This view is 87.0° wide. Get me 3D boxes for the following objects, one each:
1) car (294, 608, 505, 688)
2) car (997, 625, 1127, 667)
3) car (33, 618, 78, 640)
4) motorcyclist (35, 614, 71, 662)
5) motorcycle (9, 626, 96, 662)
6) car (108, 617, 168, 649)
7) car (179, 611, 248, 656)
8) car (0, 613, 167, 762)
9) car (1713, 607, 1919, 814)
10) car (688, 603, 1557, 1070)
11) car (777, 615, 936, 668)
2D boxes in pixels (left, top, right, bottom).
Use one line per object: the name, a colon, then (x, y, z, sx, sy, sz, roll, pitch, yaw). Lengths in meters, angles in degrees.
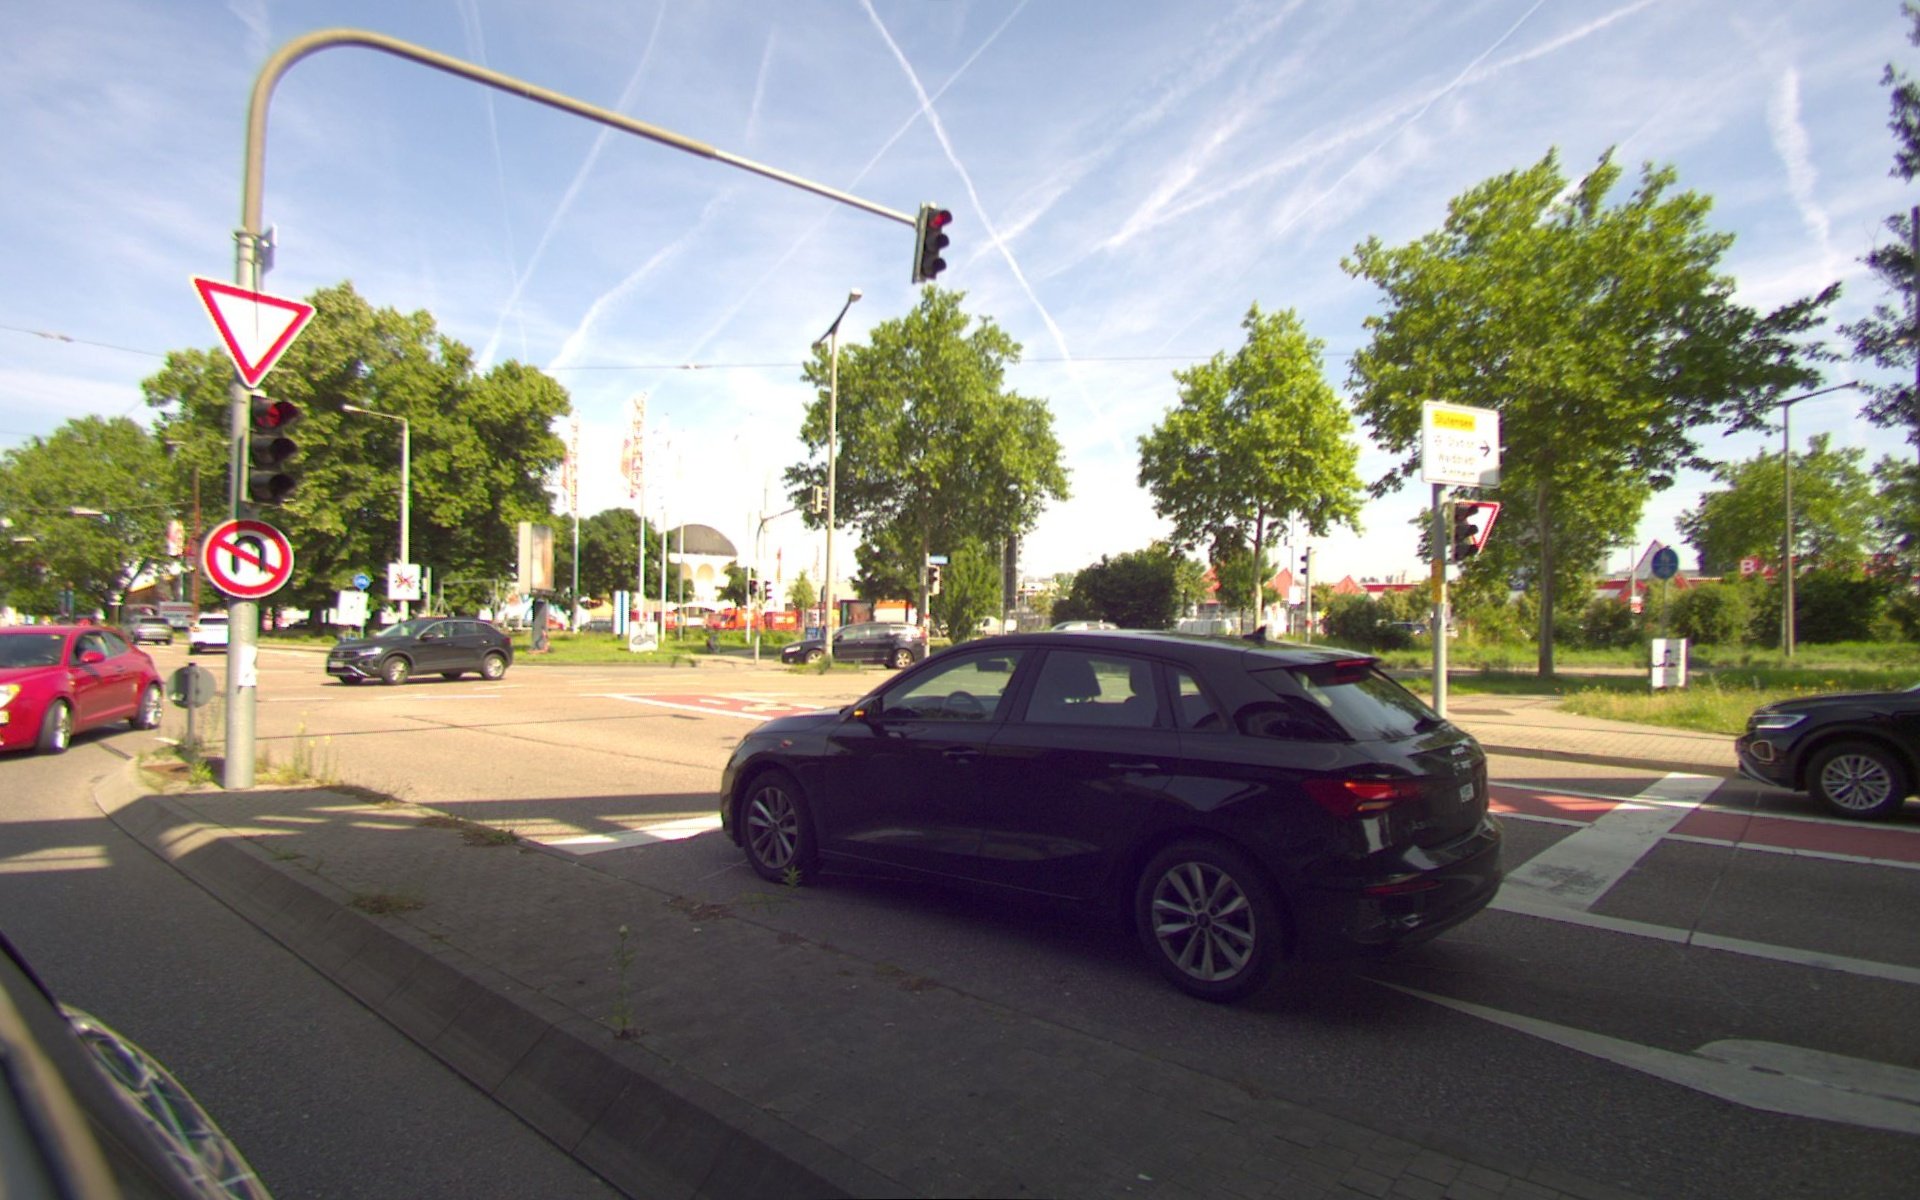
car: (-13.083, 1.057, 23.897, 1.815, 1.654, 4.077, -1, 0, 25)
car: (3.713, 1.681, 37.063, 4.384, 1.426, 1.708, 1, -1, -14)
car: (-67.518, 2.130, 75.550, 3.821, 1.527, 1.904, -1, 0, 39)
motorcyclist: (-29.254, 1.223, 32.639, 0.628, 1.540, 0.638, -1, -1, 21)
motorcycle: (-29.235, 1.407, 32.652, 0.773, 1.091, 1.970, -1, -1, 20)
car: (-46.612, 1.848, 57.364, 3.821, 1.734, 1.904, -1, 0, 39)
car: (-31.081, 1.337, 42.243, 1.794, 1.734, 3.648, -1, 0, -28)
car: (-11.257, 0.924, 11.891, 1.768, 1.465, 3.991, 0, 0, -17)
car: (8.743, 0.871, 7.982, 4.385, 1.608, 1.853, -1, -2, 41)
car: (0.544, 0.767, 5.207, 4.119, 1.458, 1.762, 0, -2, 41)
car: (-3.315, 1.325, 32.231, 4.844, 1.585, 1.708, 1, -1, -13)
